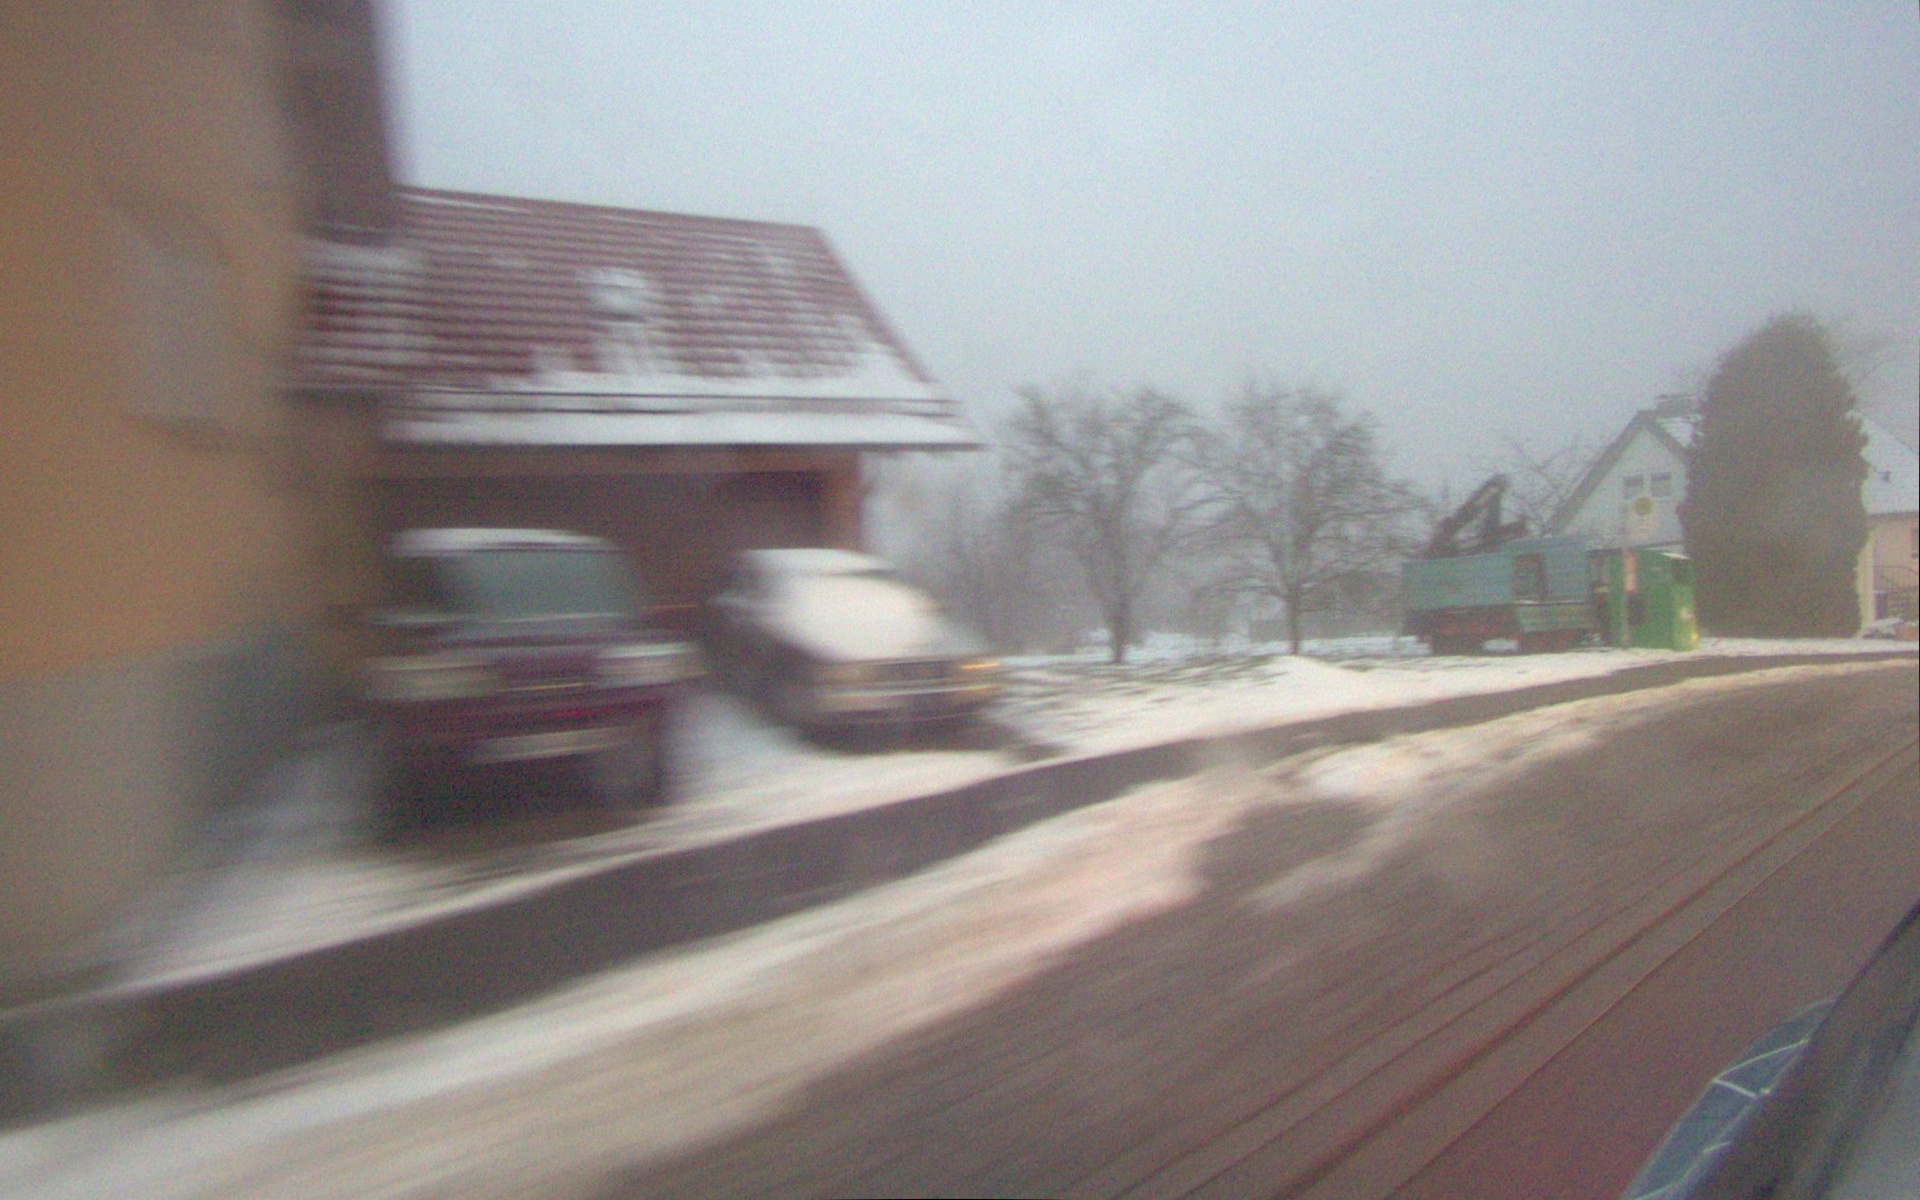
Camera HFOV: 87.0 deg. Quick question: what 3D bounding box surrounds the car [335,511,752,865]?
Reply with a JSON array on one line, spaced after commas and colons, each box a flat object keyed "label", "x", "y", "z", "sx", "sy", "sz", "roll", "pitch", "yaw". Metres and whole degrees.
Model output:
[{"label": "car", "x": -2.994, "y": 0.276, "z": 6.779, "sx": 1.907, "sy": 1.578, "sz": 4.178, "roll": -1, "pitch": 3, "yaw": -30}]

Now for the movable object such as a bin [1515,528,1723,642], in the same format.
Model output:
[{"label": "movable object such as a bin", "x": 15.820, "y": -0.406, "z": 24.280, "sx": 4.425, "sy": 2.499, "sz": 2.398, "roll": -1, "pitch": 2, "yaw": -29}]

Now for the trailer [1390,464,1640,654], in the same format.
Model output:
[{"label": "trailer", "x": 12.003, "y": -0.871, "z": 21.837, "sx": 4.967, "sy": 3.604, "sz": 2.884, "roll": -2, "pitch": 2, "yaw": -35}]

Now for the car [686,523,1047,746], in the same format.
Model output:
[{"label": "car", "x": -1.147, "y": 0.159, "z": 9.483, "sx": 1.958, "sy": 1.578, "sz": 4.266, "roll": 2, "pitch": 2, "yaw": -25}]
